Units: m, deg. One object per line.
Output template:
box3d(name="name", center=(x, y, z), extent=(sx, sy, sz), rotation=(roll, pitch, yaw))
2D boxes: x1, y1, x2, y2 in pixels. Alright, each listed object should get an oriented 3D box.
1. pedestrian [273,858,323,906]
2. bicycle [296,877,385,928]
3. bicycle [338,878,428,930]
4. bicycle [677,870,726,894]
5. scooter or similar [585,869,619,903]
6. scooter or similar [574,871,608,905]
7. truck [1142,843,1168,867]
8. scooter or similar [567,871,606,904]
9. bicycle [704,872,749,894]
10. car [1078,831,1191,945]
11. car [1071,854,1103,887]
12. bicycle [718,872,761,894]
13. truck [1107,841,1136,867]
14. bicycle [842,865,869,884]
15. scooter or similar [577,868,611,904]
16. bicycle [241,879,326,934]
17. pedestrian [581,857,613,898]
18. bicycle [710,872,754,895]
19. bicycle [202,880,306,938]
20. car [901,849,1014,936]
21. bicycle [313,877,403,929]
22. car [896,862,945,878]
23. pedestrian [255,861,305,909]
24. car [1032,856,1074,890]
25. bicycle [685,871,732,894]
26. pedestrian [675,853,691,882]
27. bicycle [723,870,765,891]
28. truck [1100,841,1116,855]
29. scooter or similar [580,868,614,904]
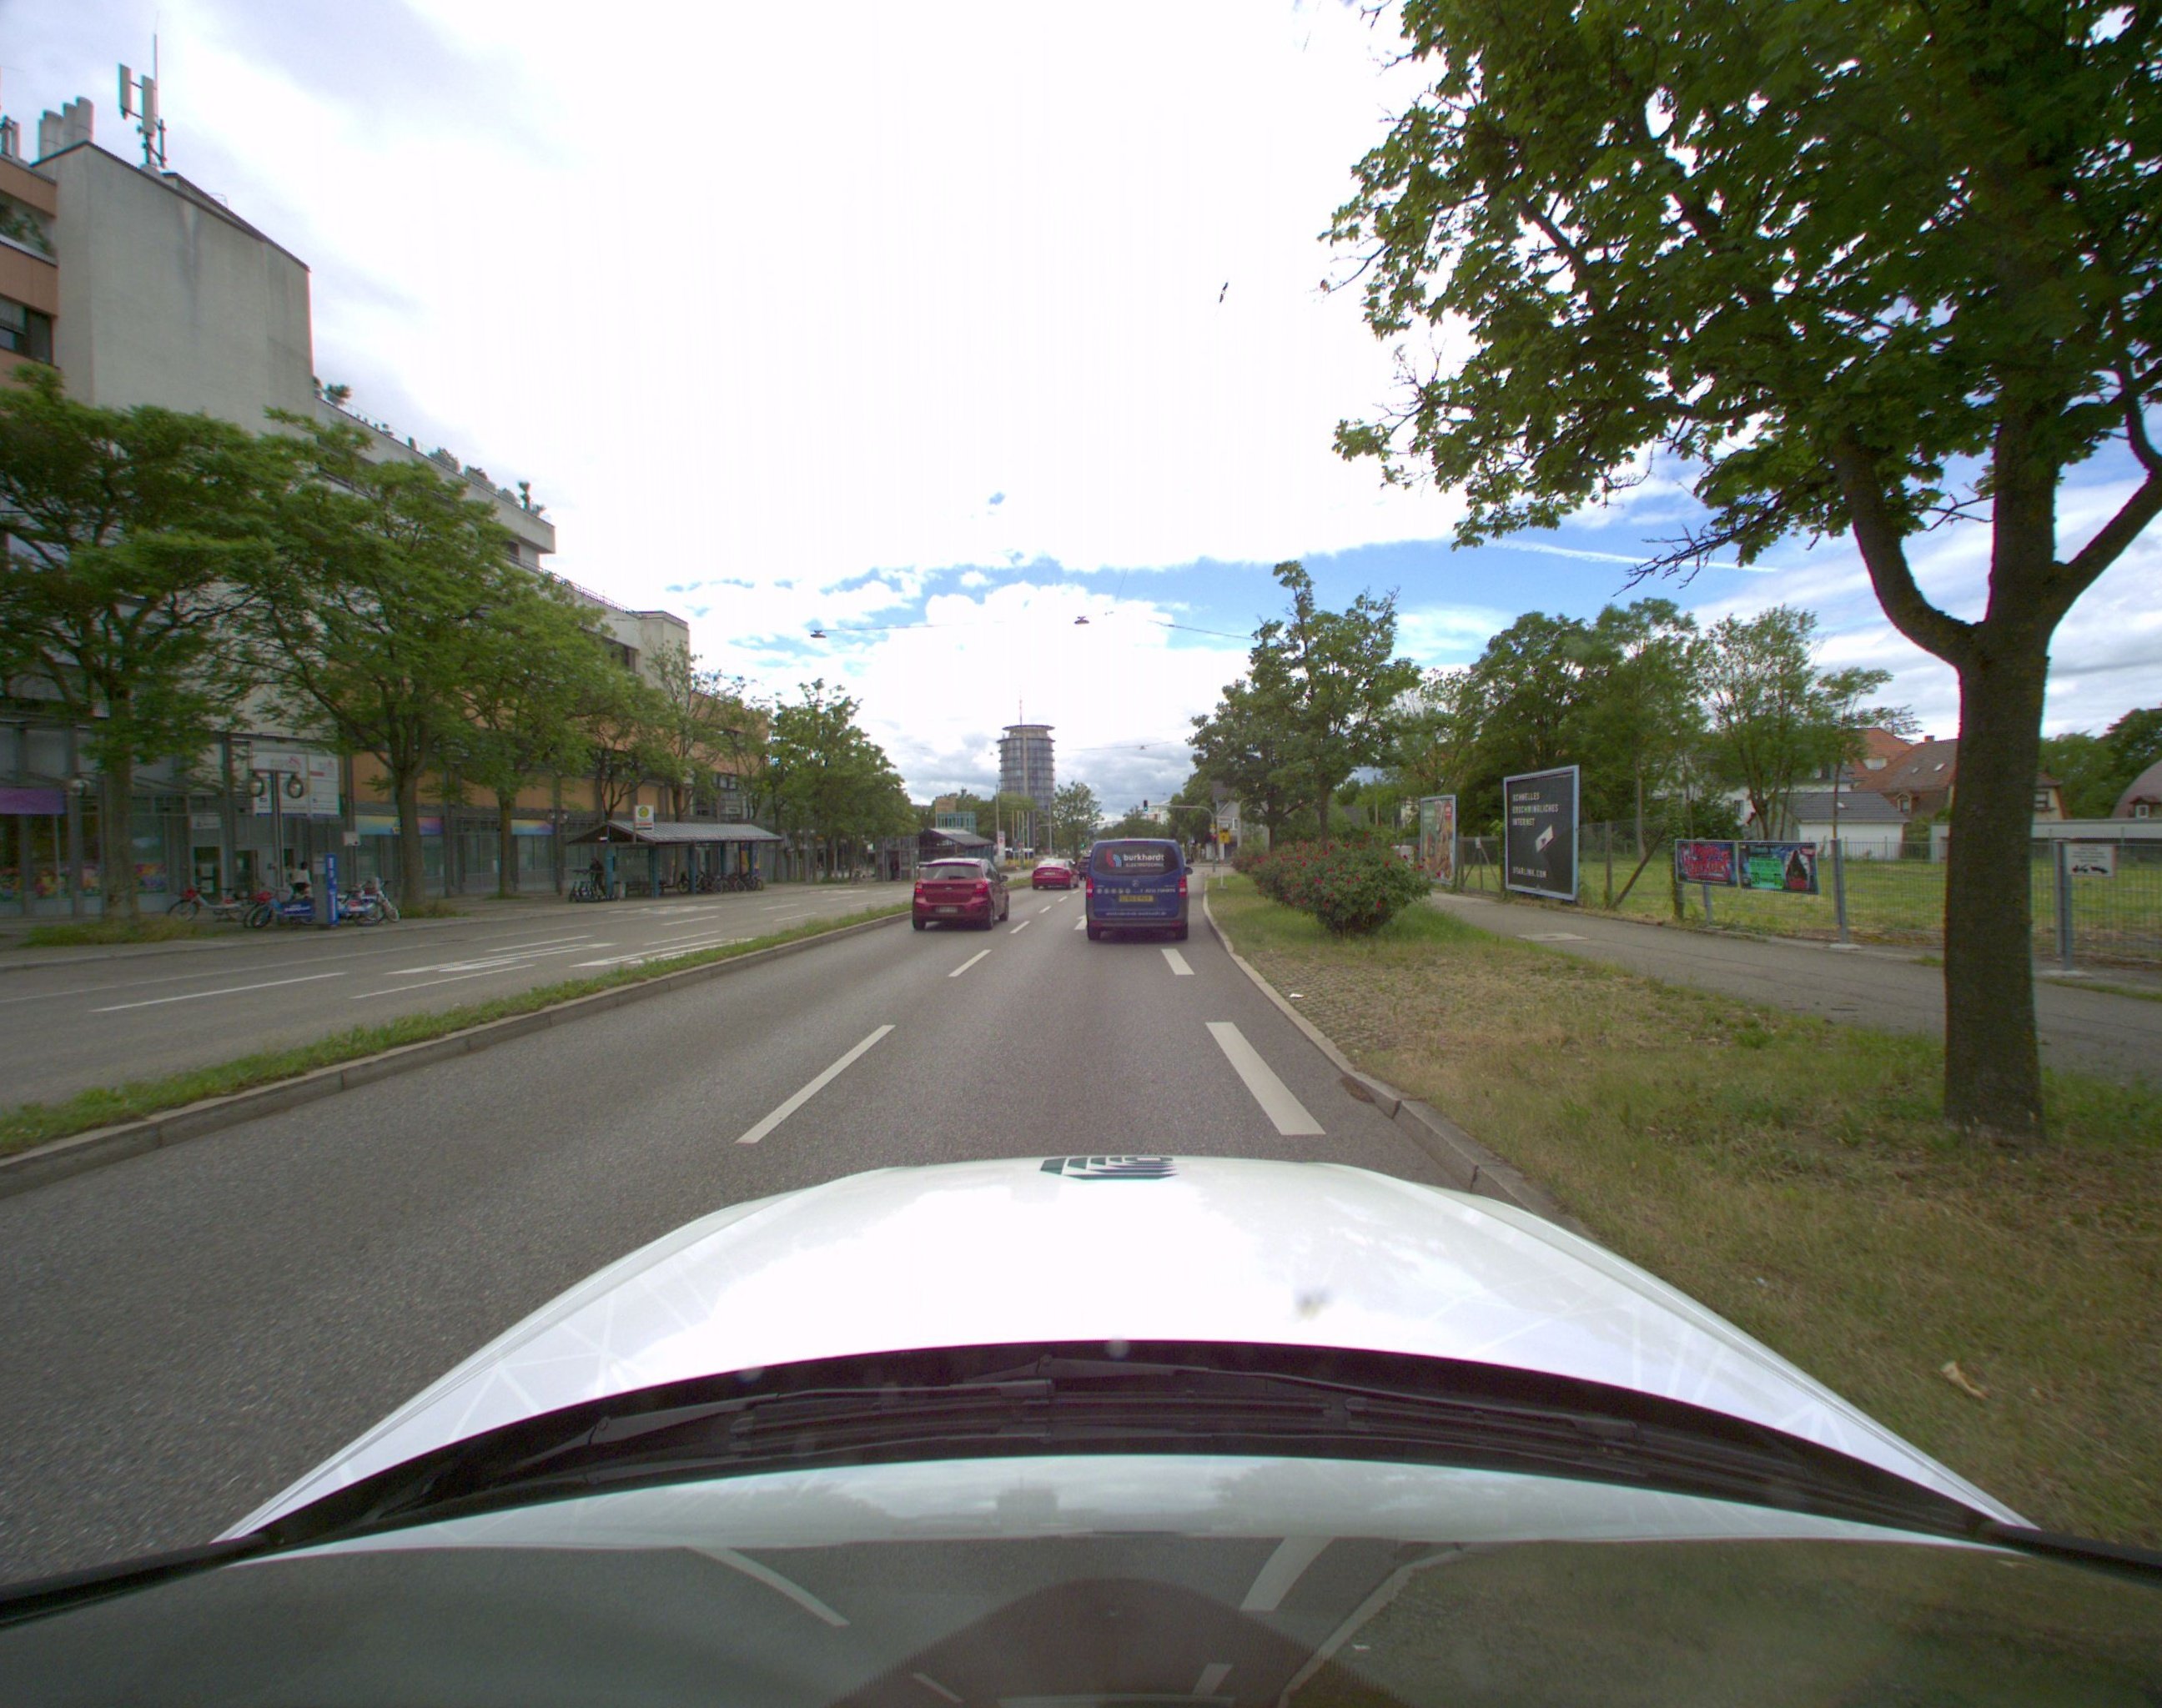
box3d(name="pedestrian", center=(-27.539, 0.975, 28.657), extent=(0.729, 1.618, 0.998), rotation=(-1, 0, 4))
box3d(name="bicycle", center=(-19.979, 1.293, 21.990), extent=(0.619, 1.253, 1.694), rotation=(-2, 0, 41))
box3d(name="bicycle", center=(-18.154, 1.280, 21.203), extent=(0.619, 1.253, 1.694), rotation=(-2, 0, 41))
box3d(name="bicycle", center=(-19.002, 1.412, 40.761), extent=(2.063, 1.153, 0.710), rotation=(1, -1, -8))
box3d(name="scooter or similar", center=(-19.486, 1.294, 33.101), extent=(1.197, 1.320, 0.259), rotation=(-1, -1, 0))
box3d(name="scooter or similar", center=(-19.410, 1.340, 32.258), extent=(1.124, 1.295, 0.268), rotation=(-1, 0, 0))
box3d(name="truck", center=(6.915, 0.102, 75.529), extent=(1.982, 2.165, 5.572), rotation=(1, 0, 9))
box3d(name="scooter or similar", center=(-19.365, 1.297, 31.897), extent=(1.317, 1.269, 0.339), rotation=(0, 0, 0))
box3d(name="bicycle", center=(-18.656, 1.512, 42.897), extent=(2.063, 1.153, 0.710), rotation=(0, -1, -8))
box3d(name="car", center=(1.158, 0.600, 16.426), extent=(1.938, 1.965, 4.548), rotation=(-1, 0, 6))
box3d(name="car", center=(0.377, 1.046, 53.109), extent=(1.987, 2.013, 3.999), rotation=(0, 1, 0))
box3d(name="bicycle", center=(-18.977, 1.624, 45.315), extent=(2.063, 1.153, 0.710), rotation=(2, -1, -8))
box3d(name="truck", center=(3.654, -0.021, 71.969), extent=(1.982, 2.165, 5.572), rotation=(1, 0, 9))
box3d(name="bicycle", center=(-15.766, 1.421, 56.925), extent=(1.047, 1.271, 2.428), rotation=(1, 0, 4))
box3d(name="scooter or similar", center=(-19.448, 1.282, 32.533), extent=(1.197, 1.385, 0.222), rotation=(-1, -1, 0))
box3d(name="bicycle", center=(-19.886, 1.291, 20.323), extent=(0.427, 1.253, 1.479), rotation=(-2, 0, 43))
box3d(name="pedestrian", center=(-21.644, 1.026, 36.427), extent=(0.729, 1.781, 0.998), rotation=(-1, 0, 4))
box3d(name="bicycle", center=(-18.982, 1.579, 44.296), extent=(2.063, 1.153, 0.710), rotation=(-1, 0, -8))
box3d(name="bicycle", center=(-19.696, 1.286, 19.423), extent=(0.619, 1.253, 1.694), rotation=(-2, 0, 41))
box3d(name="car", center=(-2.669, 0.788, 18.509), extent=(1.739, 1.723, 4.002), rotation=(2, 0, 2))
box3d(name="bicycle", center=(-19.090, 1.273, 21.522), extent=(0.619, 1.253, 1.694), rotation=(-2, 0, 41))
box3d(name="car", center=(-14.725, 1.496, 74.880), extent=(3.974, 1.354, 2.000), rotation=(-1, 0, 0))
box3d(name="pedestrian", center=(-28.325, 1.086, 28.804), extent=(0.729, 1.618, 0.998), rotation=(-1, 0, 4))
box3d(name="car", center=(-1.297, 0.957, 39.181), extent=(1.863, 1.486, 3.998), rotation=(-3, -2, -1))
box3d(name="bicycle", center=(-19.151, 1.460, 41.907), extent=(2.063, 1.153, 0.710), rotation=(1, -1, -8))
box3d(name="pedestrian", center=(-23.617, 0.800, 48.340), extent=(0.529, 1.643, 0.677), rotation=(-2, -1, 9))
box3d(name="bicycle", center=(-19.144, 1.518, 46.327), extent=(2.063, 1.153, 0.710), rotation=(-1, -1, -8))
box3d(name="truck", center=(7.351, -1.611, 220.187), extent=(3.351, 3.727, 11.298), rotation=(0, 0, 6))
box3d(name="scooter or similar", center=(-19.496, 1.295, 32.803), extent=(1.197, 1.423, 0.259), rotation=(-1, -1, 0))
